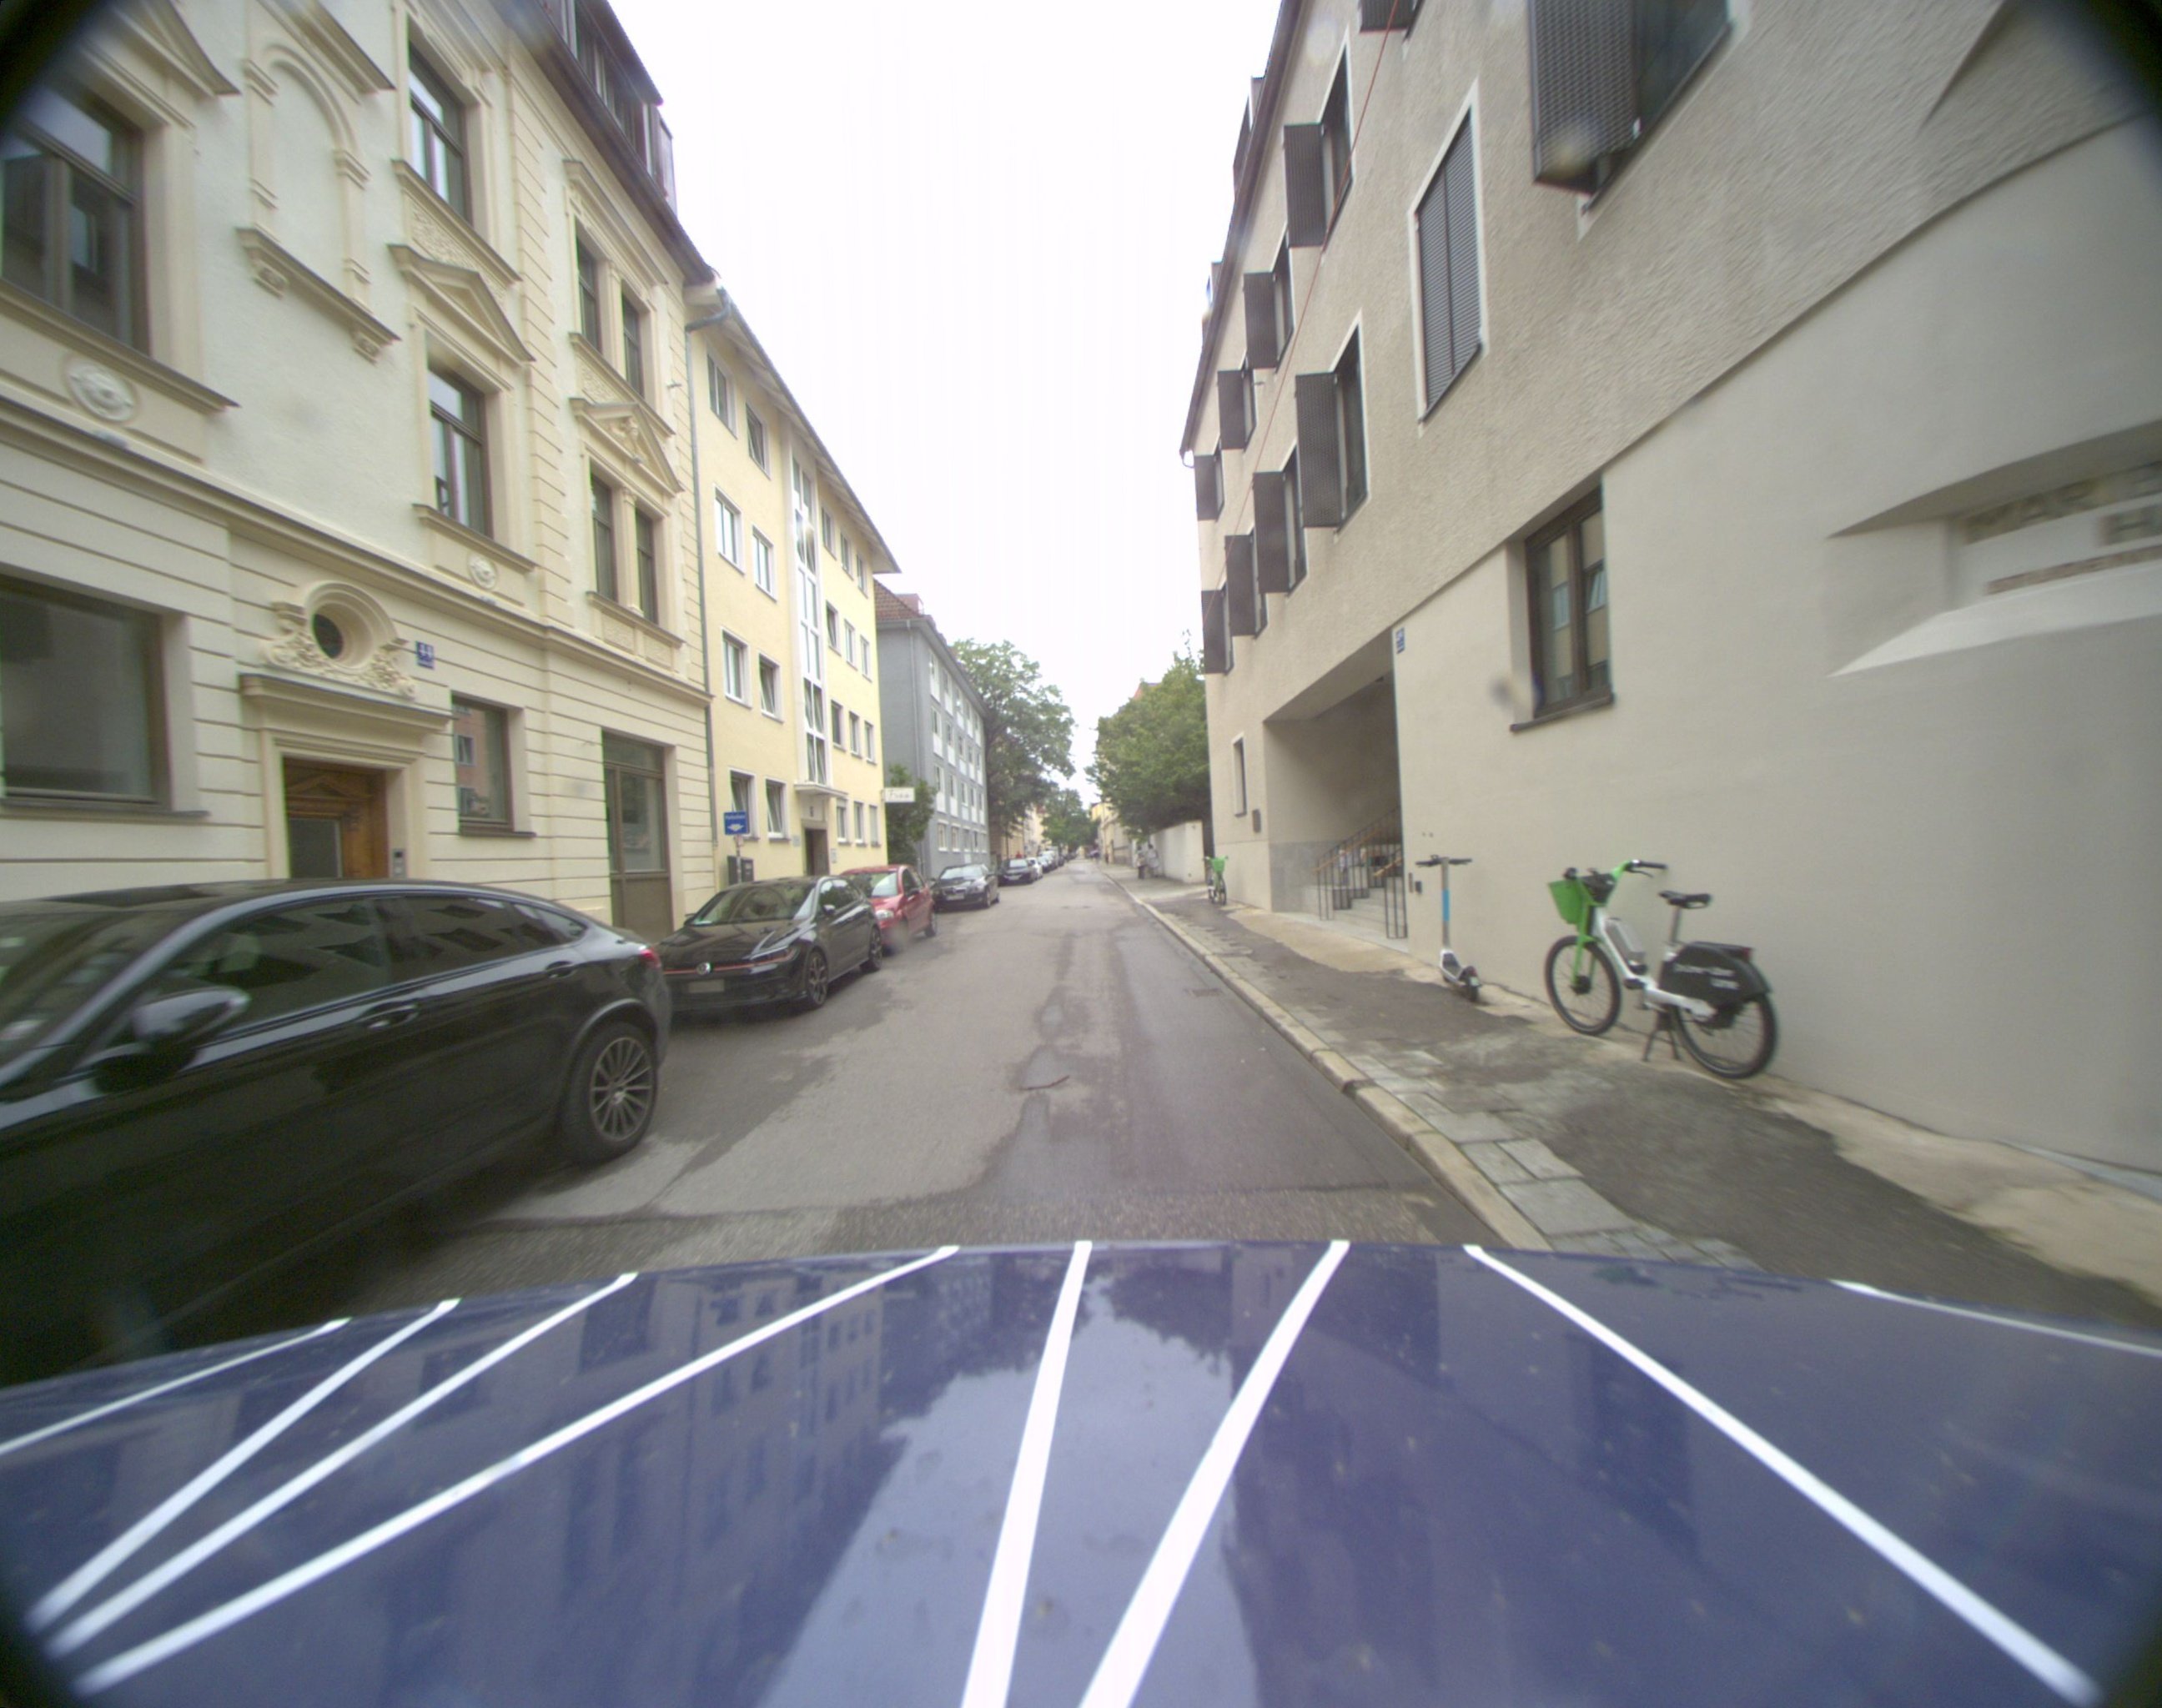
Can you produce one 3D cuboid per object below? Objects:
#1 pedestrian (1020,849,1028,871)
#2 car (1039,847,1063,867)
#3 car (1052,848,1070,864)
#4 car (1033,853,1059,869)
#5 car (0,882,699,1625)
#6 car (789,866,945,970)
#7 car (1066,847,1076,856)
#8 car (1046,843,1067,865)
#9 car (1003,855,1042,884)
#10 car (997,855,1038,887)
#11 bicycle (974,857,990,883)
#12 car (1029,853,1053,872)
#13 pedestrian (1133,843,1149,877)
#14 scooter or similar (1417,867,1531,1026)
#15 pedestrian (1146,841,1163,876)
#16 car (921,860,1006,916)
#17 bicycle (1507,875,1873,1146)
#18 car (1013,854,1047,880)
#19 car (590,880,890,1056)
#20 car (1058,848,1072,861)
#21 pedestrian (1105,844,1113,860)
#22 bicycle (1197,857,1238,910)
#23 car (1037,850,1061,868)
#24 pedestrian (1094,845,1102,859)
[{"bbox_3d":[-5.218,0.585,69.310,0.581,1.966,0.455,-4,1,0],"label":"pedestrian"},{"bbox_3d":[-3.205,0.280,82.168,1.998,2.002,5.064,-3,0,3],"label":"car"},{"bbox_3d":[-2.833,0.207,108.692,2.014,1.989,5.090,-7,0,1],"label":"car"},{"bbox_3d":[-3.224,0.620,70.836,1.998,1.306,4.593,-3,0,1],"label":"car"},{"bbox_3d":[-3.405,1.039,2.612,1.706,1.597,4.684,-3,0,0],"label":"car"},{"bbox_3d":[-3.742,1.041,13.999,1.680,1.484,3.853,-3,0,0],"label":"car"},{"bbox_3d":[-2.498,-0.584,192.786,2.014,1.969,5.090,-7,0,1],"label":"car"},{"bbox_3d":[-3.012,0.021,95.271,2.014,2.479,5.090,-7,0,1],"label":"car"},{"bbox_3d":[-3.473,0.895,45.921,1.794,1.393,4.485,-7,0,1],"label":"car"},{"bbox_3d":[-3.381,0.873,41.091,1.846,1.420,4.263,-7,0,-2],"label":"car"},{"bbox_3d":[-6.021,0.974,46.234,0.515,1.478,2.279,-3,0,1],"label":"bicycle"},{"bbox_3d":[-3.416,0.685,65.619,1.860,1.366,4.509,-5,1,-1],"label":"car"},{"bbox_3d":[2.856,0.298,36.230,0.624,1.570,0.714,-4,1,0],"label":"pedestrian"},{"bbox_3d":[3.327,0.740,6.538,0.553,1.137,1.359,-5,1,17],"label":"scooter or similar"},{"bbox_3d":[3.496,0.203,36.354,0.615,1.612,0.687,-6,1,1],"label":"pedestrian"},{"bbox_3d":[-3.540,0.976,23.704,1.830,1.327,4.508,-7,0,0],"label":"car"},{"bbox_3d":[3.361,0.755,4.472,0.545,1.154,1.882,-5,1,-1],"label":"bicycle"},{"bbox_3d":[-3.366,0.820,50.981,1.773,1.437,4.344,-7,0,1],"label":"car"},{"bbox_3d":[-3.690,1.137,9.119,1.680,1.385,4.065,-3,0,0],"label":"car"},{"bbox_3d":[-2.760,0.089,131.838,2.014,1.914,5.090,-7,0,1],"label":"car"},{"bbox_3d":[3.030,-0.220,83.524,0.766,1.742,0.970,-3,1,0],"label":"pedestrian"},{"bbox_3d":[3.231,0.666,18.114,0.539,1.132,1.916,-5,1,0],"label":"bicycle"},{"bbox_3d":[-3.162,0.461,76.149,1.998,1.677,4.510,-3,0,1],"label":"car"},{"bbox_3d":[2.291,-0.263,101.234,0.920,1.742,1.066,-3,1,0],"label":"pedestrian"}]
